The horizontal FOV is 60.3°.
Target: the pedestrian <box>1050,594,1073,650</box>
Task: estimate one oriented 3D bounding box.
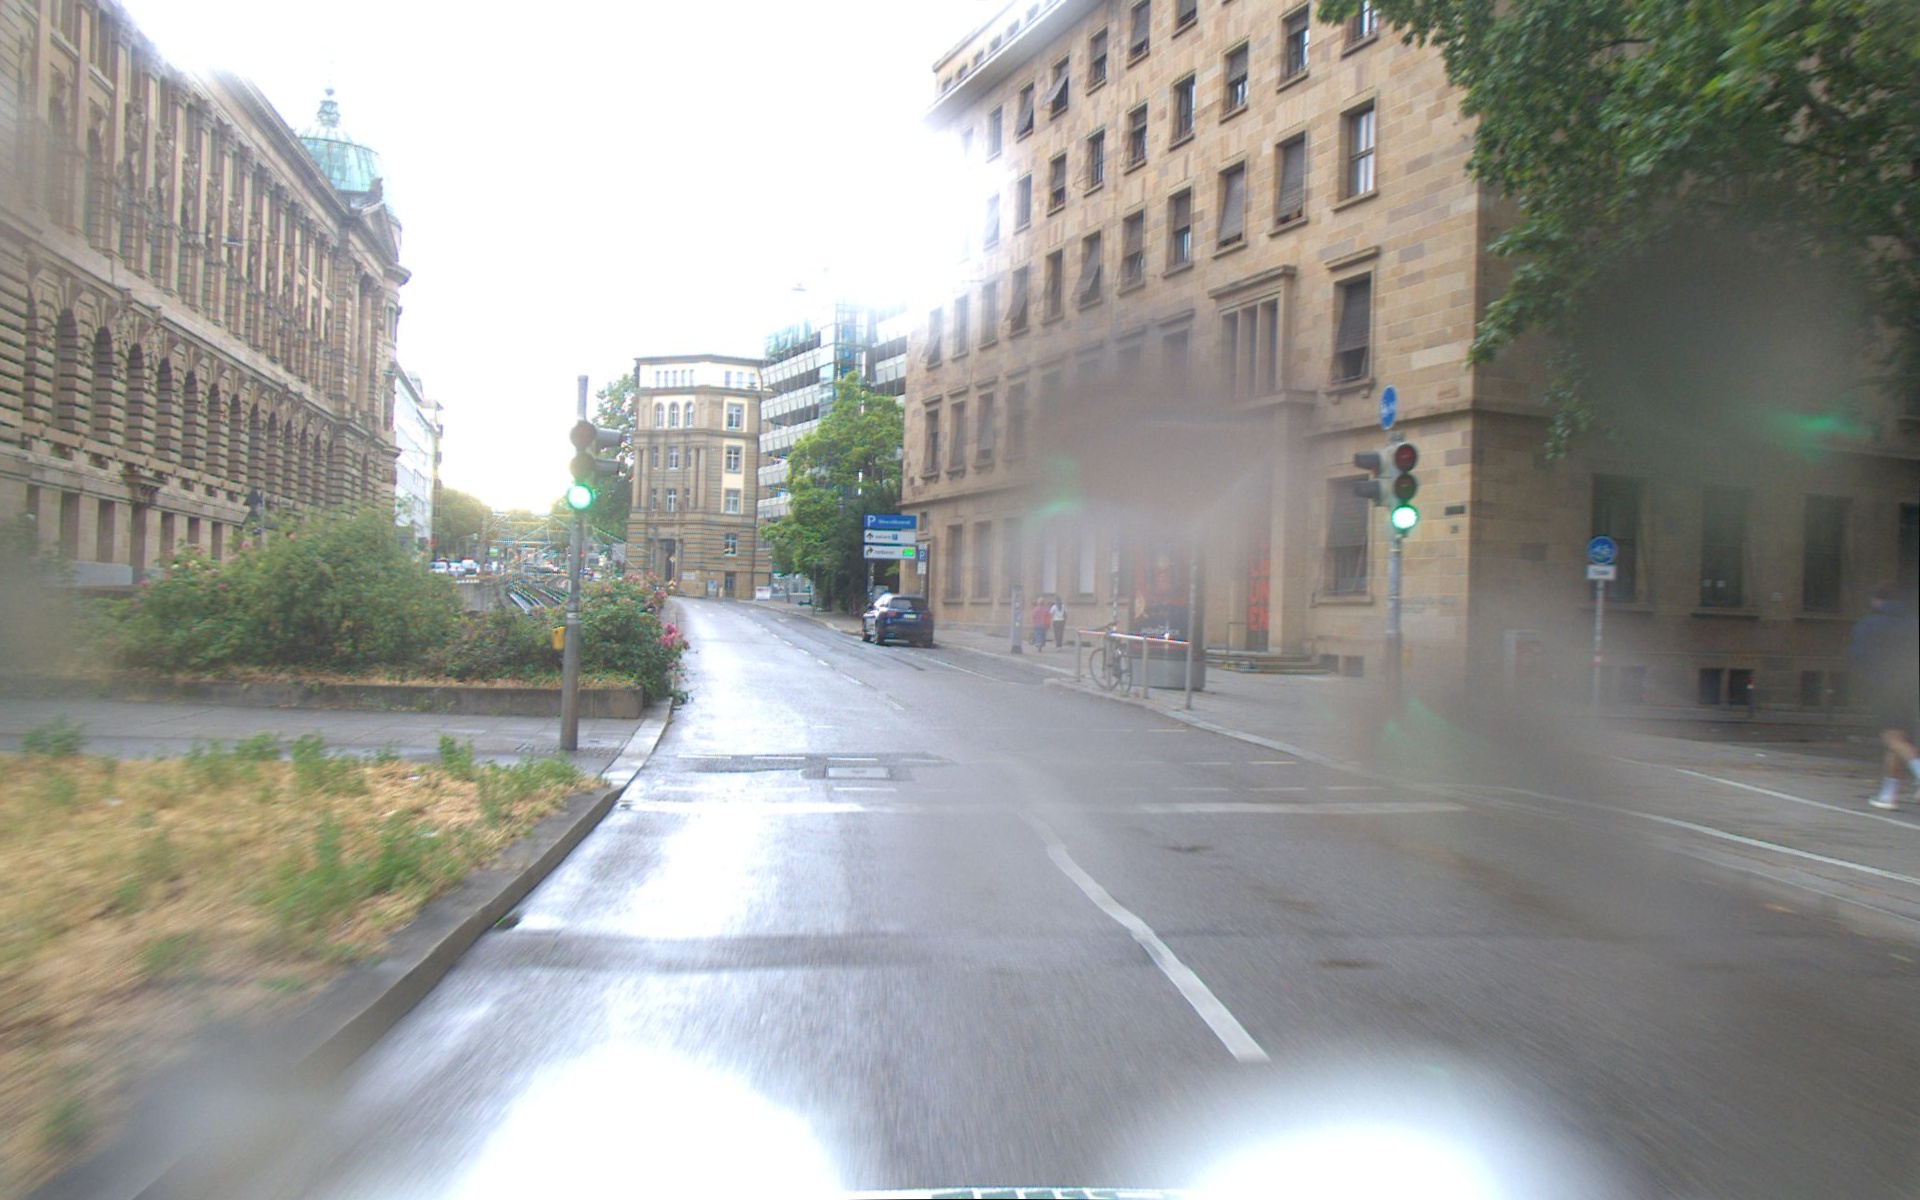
[{"bbox_3d":[2.997,0.641,48.902,0.515,1.630,0.672,2,0,-9],"label":"pedestrian"}]

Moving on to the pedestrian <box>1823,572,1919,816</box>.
[{"bbox_3d":[7.256,0.700,12.668,0.764,1.803,0.862,2,0,-3],"label":"pedestrian"}]

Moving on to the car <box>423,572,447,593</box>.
[{"bbox_3d":[-52.131,-1.775,164.255,1.961,1.915,4.906,3,0,-16],"label":"car"}]

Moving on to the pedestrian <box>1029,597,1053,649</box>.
[{"bbox_3d":[2.377,0.676,48.602,0.514,1.518,0.672,2,0,-9],"label":"pedestrian"}]

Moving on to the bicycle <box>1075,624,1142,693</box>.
[{"bbox_3d":[2.391,0.930,26.752,0.480,1.030,1.921,2,0,-13],"label":"bicycle"}]

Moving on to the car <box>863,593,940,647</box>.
[{"bbox_3d":[-1.949,0.623,54.166,1.737,1.647,4.144,2,0,-13],"label":"car"}]

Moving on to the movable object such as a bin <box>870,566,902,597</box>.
[{"bbox_3d":[-3.200,-0.802,71.462,1.217,1.333,1.231,0,0,-10],"label":"movable object such as a bin"}]
